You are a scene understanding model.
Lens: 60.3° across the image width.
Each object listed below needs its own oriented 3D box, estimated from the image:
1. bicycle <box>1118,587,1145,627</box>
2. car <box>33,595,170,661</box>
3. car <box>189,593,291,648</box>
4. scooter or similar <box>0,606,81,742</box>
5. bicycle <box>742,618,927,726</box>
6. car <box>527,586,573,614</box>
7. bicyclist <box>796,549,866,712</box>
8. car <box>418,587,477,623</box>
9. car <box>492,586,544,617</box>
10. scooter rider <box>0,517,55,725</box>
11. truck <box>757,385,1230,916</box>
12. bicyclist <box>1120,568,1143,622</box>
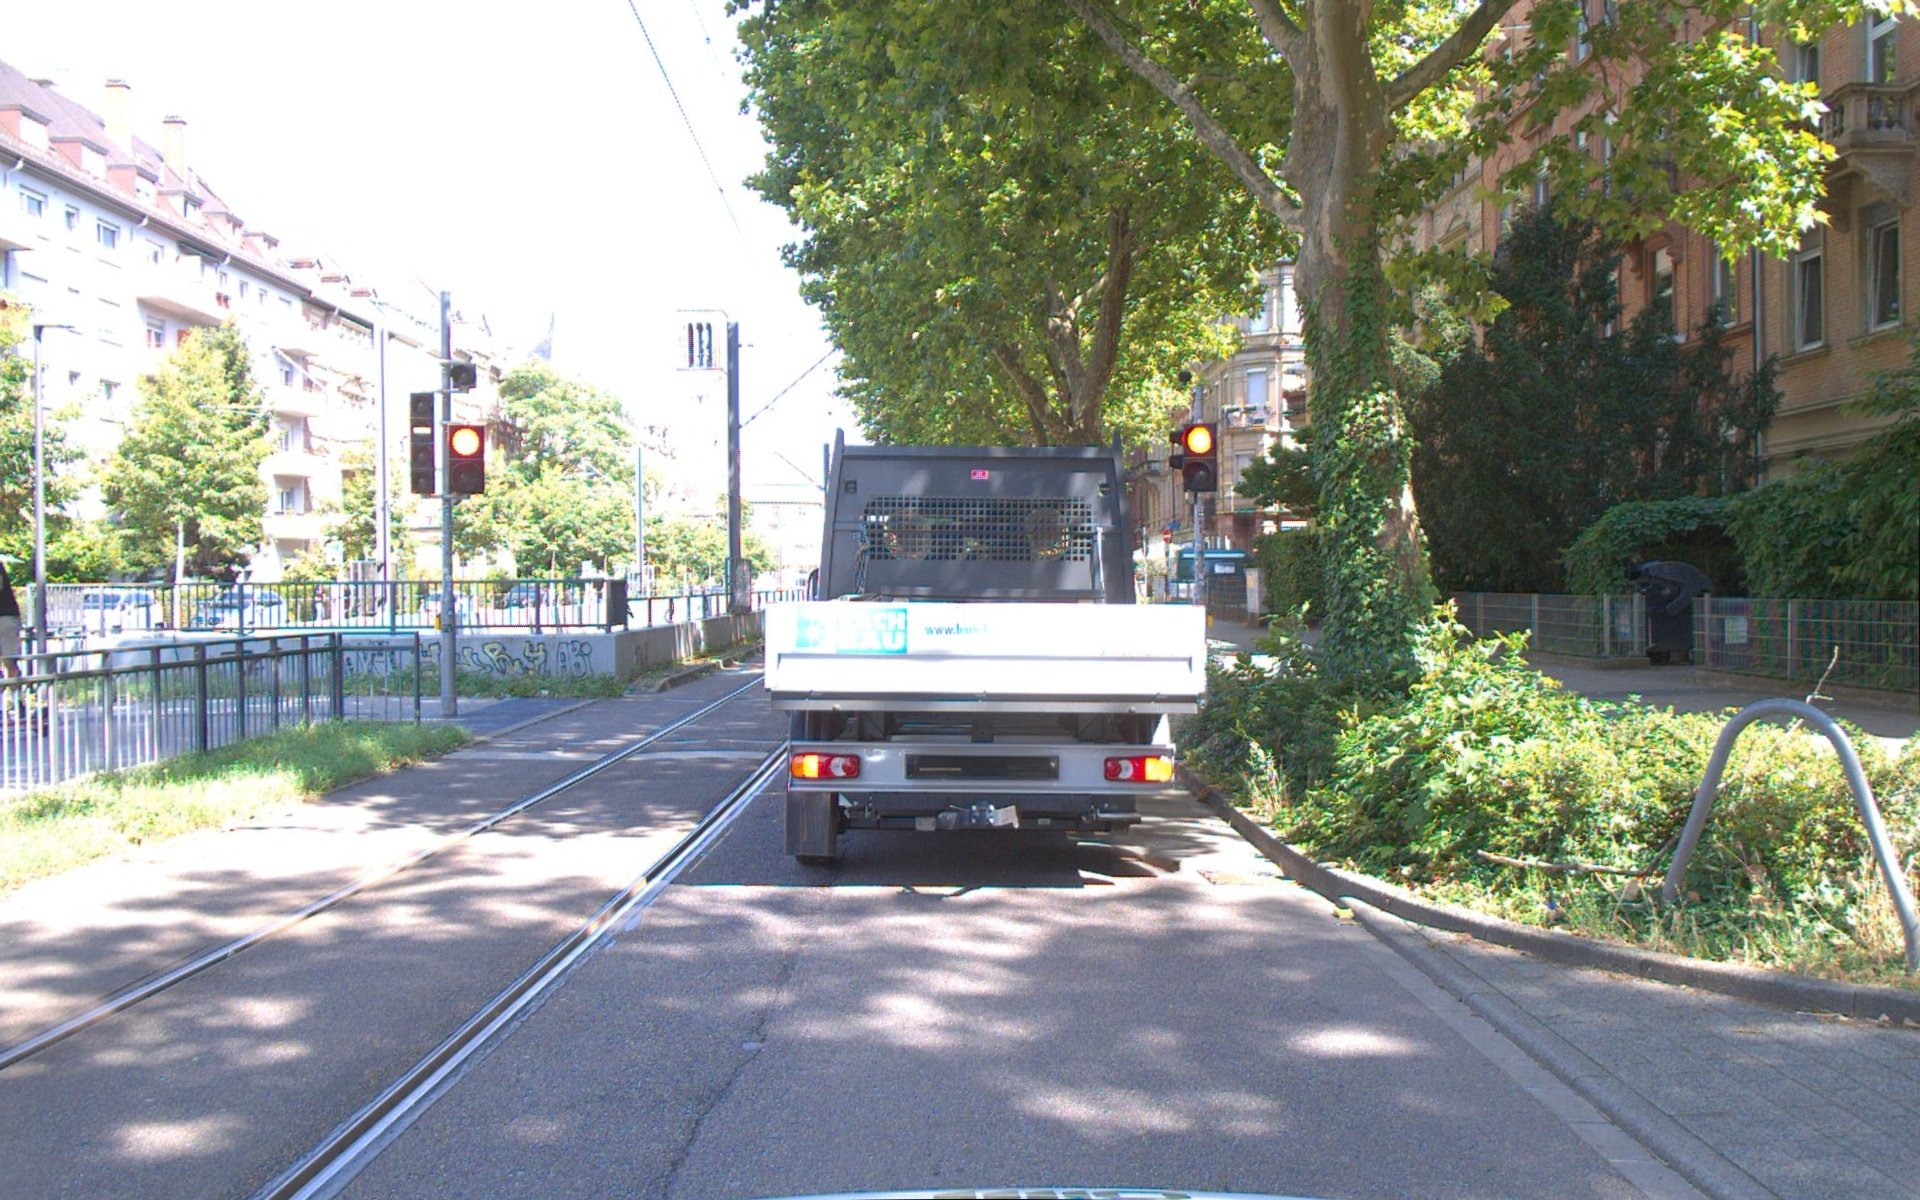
[{"bbox_3d":[5.114,0.198,49.462,0.553,1.131,2.310,-1,1,0],"label":"bicycle"},{"bbox_3d":[-22.005,0.677,42.563,1.737,1.524,3.994,-2,1,-6],"label":"car"},{"bbox_3d":[-22.194,0.594,51.141,1.737,1.524,3.994,-2,1,-6],"label":"car"},{"bbox_3d":[-8.986,0.686,15.380,0.644,1.225,1.266,-1,1,35],"label":"scooter or similar"},{"bbox_3d":[-1.292,0.738,17.192,1.881,1.067,0.532,-1,0,-2],"label":"bicycle"},{"bbox_3d":[-23.274,-0.011,93.964,1.735,1.524,3.998,-1,1,-2],"label":"car"},{"bbox_3d":[-1.336,0.310,17.191,0.678,1.651,0.624,-1,0,-2],"label":"bicyclist"},{"bbox_3d":[-22.505,0.194,72.775,1.737,1.524,3.994,-1,1,-7],"label":"car"},{"bbox_3d":[-22.986,0.065,86.131,1.735,1.524,3.998,-1,1,-2],"label":"car"},{"bbox_3d":[-8.951,0.193,15.420,0.651,1.899,0.666,-1,0,35],"label":"scooter rider"},{"bbox_3d":[0.156,0.206,9.685,2.094,2.359,4.401,1,1,0],"label":"truck"},{"bbox_3d":[5.121,-0.161,49.478,0.625,1.601,0.579,-1,0,0],"label":"bicyclist"}]
